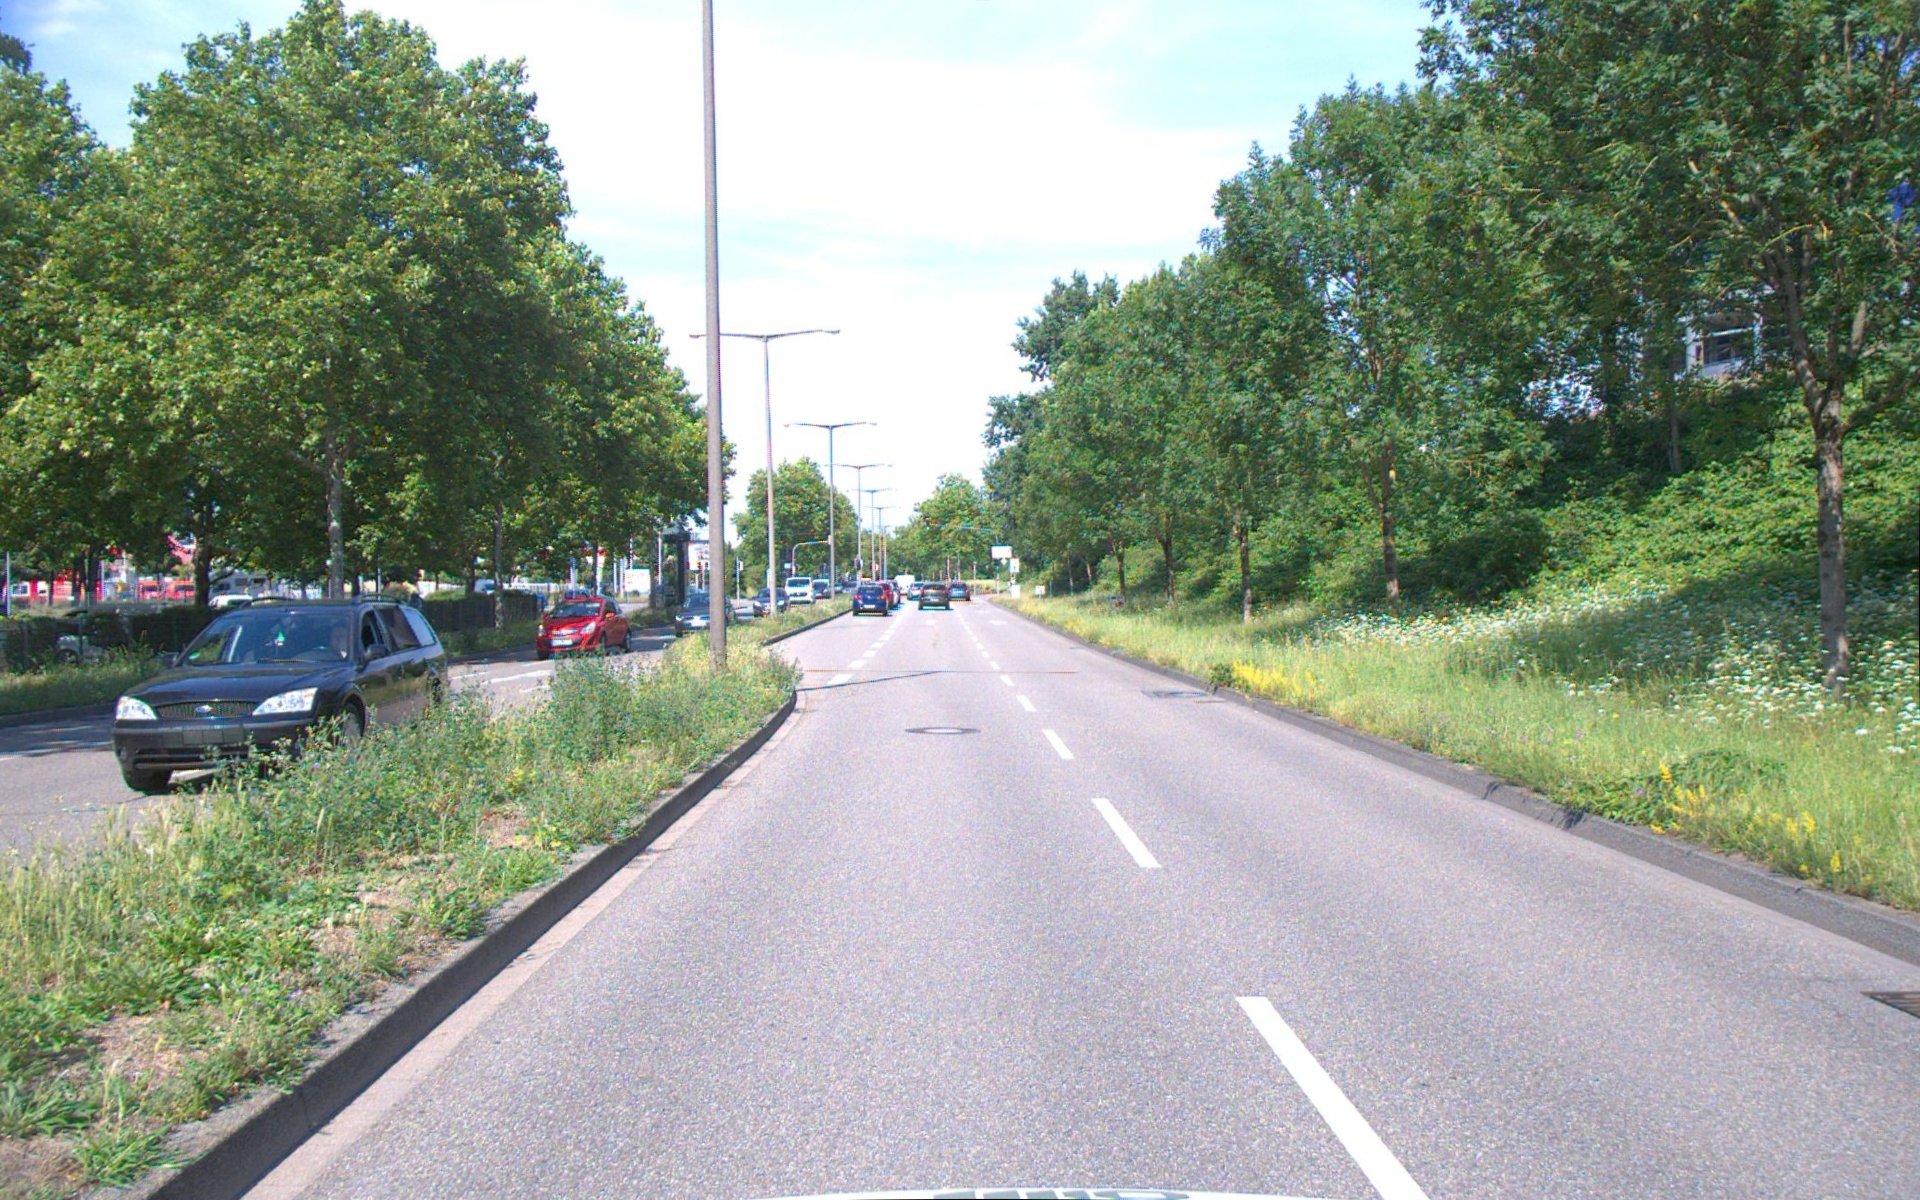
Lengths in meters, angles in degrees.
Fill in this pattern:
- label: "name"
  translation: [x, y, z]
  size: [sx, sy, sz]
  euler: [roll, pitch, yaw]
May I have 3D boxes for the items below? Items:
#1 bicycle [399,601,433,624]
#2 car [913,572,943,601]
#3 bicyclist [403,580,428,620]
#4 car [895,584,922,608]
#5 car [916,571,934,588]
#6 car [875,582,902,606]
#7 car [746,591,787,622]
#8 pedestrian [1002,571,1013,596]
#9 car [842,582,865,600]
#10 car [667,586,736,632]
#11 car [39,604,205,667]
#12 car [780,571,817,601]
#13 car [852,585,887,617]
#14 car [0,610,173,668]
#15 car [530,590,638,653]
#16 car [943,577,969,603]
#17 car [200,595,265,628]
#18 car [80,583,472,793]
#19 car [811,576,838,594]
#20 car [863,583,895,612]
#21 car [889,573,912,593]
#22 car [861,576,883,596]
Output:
- label: "bicycle"
  translation: [-21.267, 0.478, 64.678]
  size: [0.675, 0.881, 1.926]
  euler: [-1, 0, -1]
- label: "car"
  translation: [-1.885, -0.827, 97.969]
  size: [1.701, 1.562, 4.001]
  euler: [0, 3, -1]
- label: "bicyclist"
  translation: [-21.281, -0.002, 64.644]
  size: [0.667, 1.511, 0.941]
  euler: [-1, 0, -1]
- label: "car"
  translation: [-4.013, -0.312, 129.171]
  size: [1.953, 1.774, 4.264]
  euler: [-1, 0, -1]
- label: "car"
  translation: [-4.282, -2.565, 204.306]
  size: [1.954, 2.049, 3.996]
  euler: [-1, 0, -5]
- label: "car"
  translation: [-5.028, -0.438, 116.379]
  size: [1.843, 1.646, 4.211]
  euler: [0, 0, -2]
- label: "car"
  translation: [-9.964, 0.311, 85.492]
  size: [1.732, 1.494, 4.282]
  euler: [-1, 0, -2]
- label: "pedestrian"
  translation: [3.720, -1.315, 130.159]
  size: [0.821, 1.966, 0.771]
  euler: [0, 2, -5]
- label: "car"
  translation: [-10.951, -0.948, 170.648]
  size: [1.952, 1.806, 4.001]
  euler: [-1, 0, 1]
- label: "car"
  translation: [-8.899, 0.294, 57.170]
  size: [1.802, 1.504, 4.165]
  euler: [-1, 0, -1]
- label: "car"
  translation: [-25.254, 1.053, 49.964]
  size: [3.904, 1.855, 2.157]
  euler: [0, 0, 3]
- label: "car"
  translation: [-10.739, -0.943, 110.357]
  size: [2.074, 1.916, 5.417]
  euler: [-1, 1, -2]
- label: "car"
  translation: [-4.458, 0.011, 81.678]
  size: [1.593, 1.509, 4.047]
  euler: [1, 1, -2]
- label: "car"
  translation: [-24.657, 1.081, 46.770]
  size: [3.905, 1.490, 1.772]
  euler: [-1, 0, -1]
- label: "car"
  translation: [-9.655, 0.516, 42.734]
  size: [1.727, 1.488, 4.001]
  euler: [-2, 0, 2]
- label: "car"
  translation: [-0.349, -0.802, 128.019]
  size: [1.977, 1.869, 4.001]
  euler: [0, 3, -1]
- label: "car"
  translation: [-39.493, 0.629, 89.701]
  size: [1.982, 1.694, 4.774]
  euler: [-2, 1, -40]
- label: "car"
  translation: [-5.777, 0.641, 14.653]
  size: [1.737, 1.493, 4.668]
  euler: [-2, 0, -4]
- label: "car"
  translation: [-11.902, -1.308, 145.531]
  size: [1.953, 1.557, 4.681]
  euler: [-2, 1, -1]
- label: "car"
  translation: [-4.684, -0.168, 96.321]
  size: [1.746, 1.620, 4.592]
  euler: [0, 1, -2]
- label: "car"
  translation: [-5.426, -1.576, 151.491]
  size: [1.953, 1.738, 4.263]
  euler: [-1, 0, -1]
- label: "car"
  translation: [-8.672, -1.370, 163.479]
  size: [1.953, 1.892, 4.000]
  euler: [-1, 0, 0]
